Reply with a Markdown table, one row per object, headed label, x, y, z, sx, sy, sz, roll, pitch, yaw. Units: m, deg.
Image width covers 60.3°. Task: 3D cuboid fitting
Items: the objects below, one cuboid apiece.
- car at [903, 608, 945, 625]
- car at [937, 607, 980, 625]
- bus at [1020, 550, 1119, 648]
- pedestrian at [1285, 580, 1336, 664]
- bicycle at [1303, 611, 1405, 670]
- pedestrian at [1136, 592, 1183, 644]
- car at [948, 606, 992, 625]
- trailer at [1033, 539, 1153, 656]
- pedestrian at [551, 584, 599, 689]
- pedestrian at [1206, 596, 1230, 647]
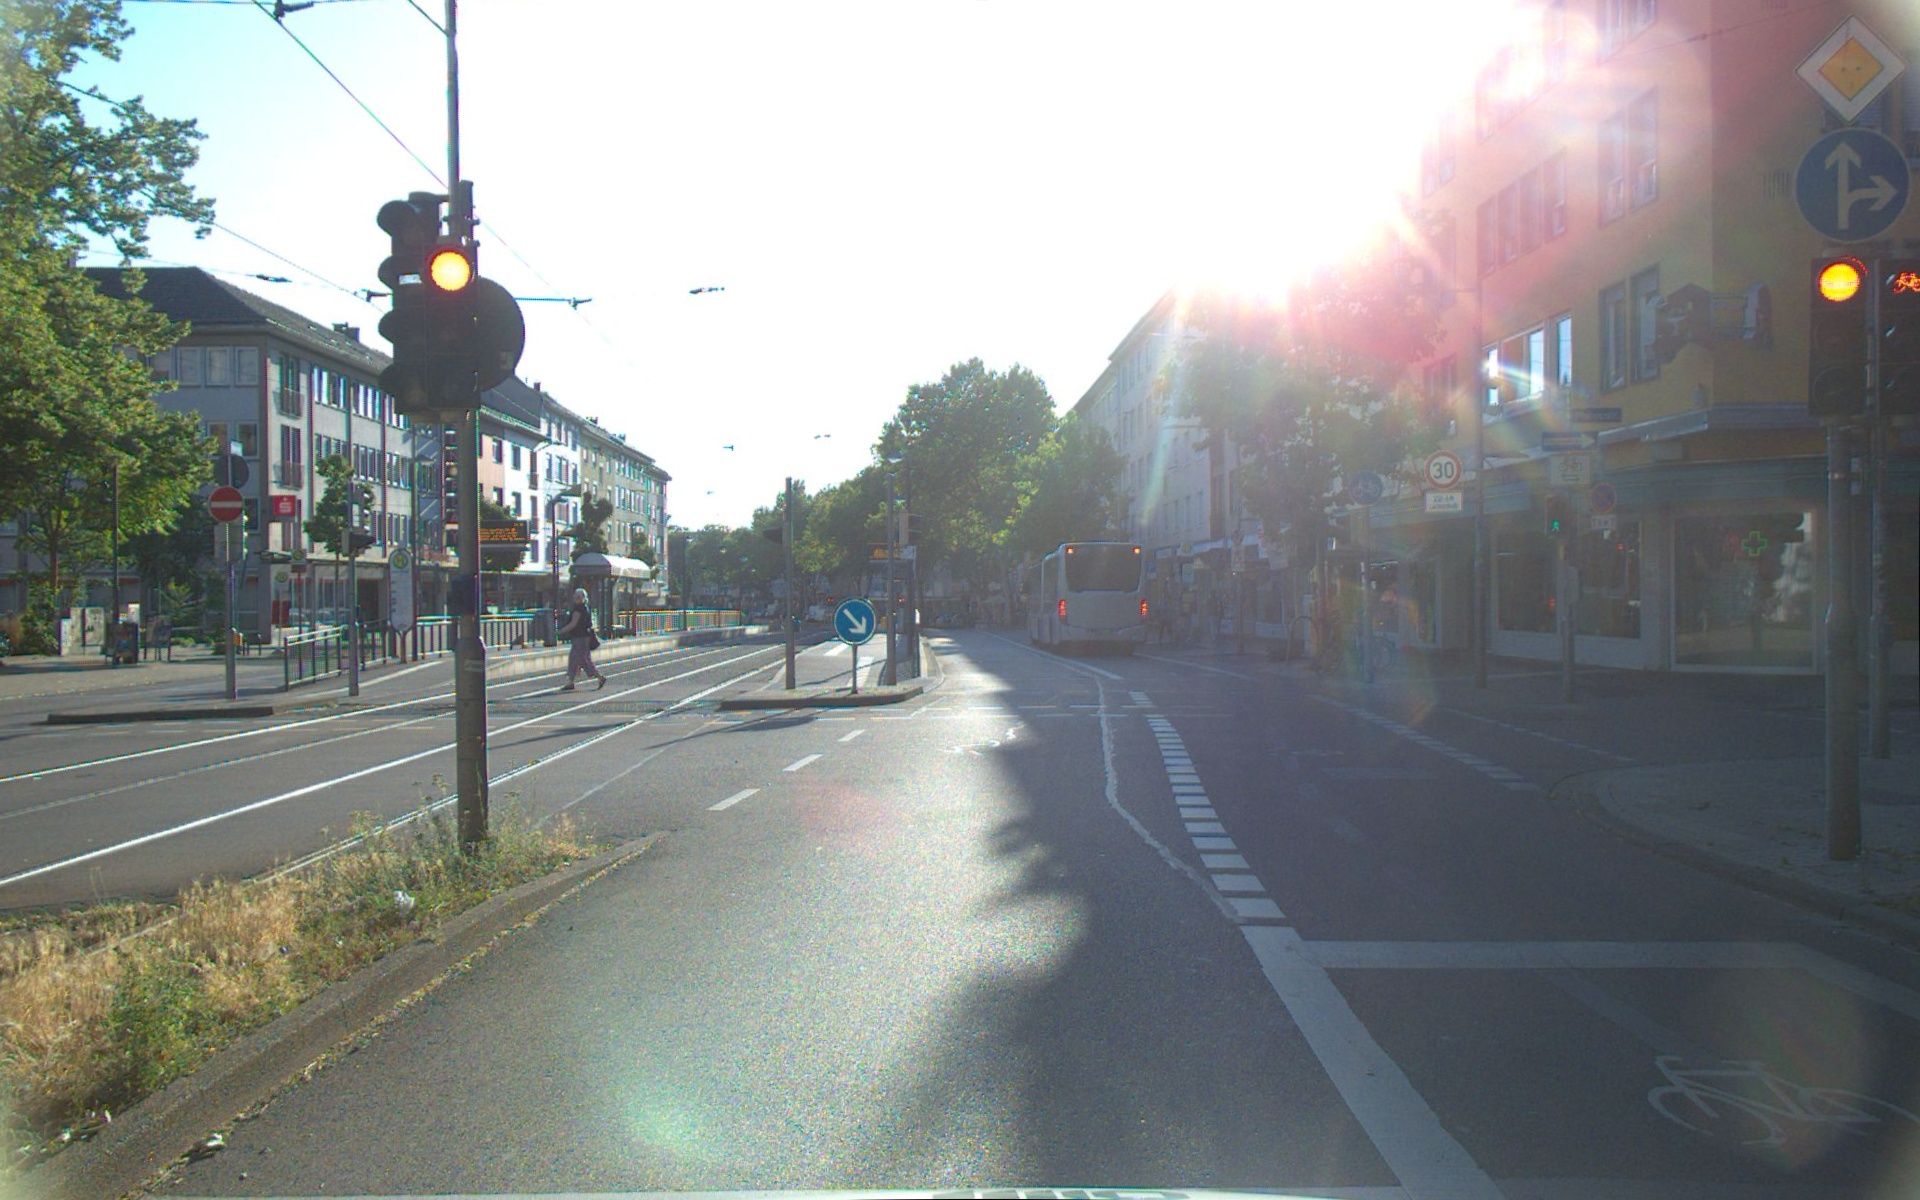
| label | x | y | z | sx | sy | sz | roll | pitch | yaw |
| --- | --- | --- | --- | --- | --- | --- | --- | --- | --- |
| car | -3.602 | 1.630 | 166.339 | 3.848 | 1.624 | 1.674 | -1 | 0 | -30 |
| car | -0.163 | 1.553 | 161.415 | 3.848 | 1.729 | 1.815 | -1 | 0 | -30 |
| bus | 3.765 | -0.029 | 59.012 | 2.755 | 3.156 | 9.092 | 1 | 0 | -1 |
| pedestrian | 8.910 | 0.551 | 42.082 | 0.935 | 2.048 | 0.917 | -5 | 1 | -3 |
| bicycle | 7.471 | 0.758 | 31.427 | 1.737 | 1.039 | 0.694 | -2 | 0 | -2 |
| pedestrian | 6.631 | 0.605 | 55.118 | 1.131 | 1.689 | 1.178 | -1 | 0 | -21 |
| car | 0.933 | 1.507 | 158.786 | 3.848 | 1.729 | 1.815 | -1 | 0 | -30 |
| trailer | 3.874 | -0.057 | 50.062 | 2.755 | 3.165 | 8.792 | 1 | 0 | -1 |
| pedestrian | -6.748 | 0.630 | 29.002 | 0.666 | 1.801 | 0.687 | -1 | 0 | -1 |
| pedestrian | 8.456 | 0.702 | 54.282 | 0.662 | 1.656 | 0.655 | 1 | 0 | 0 |
